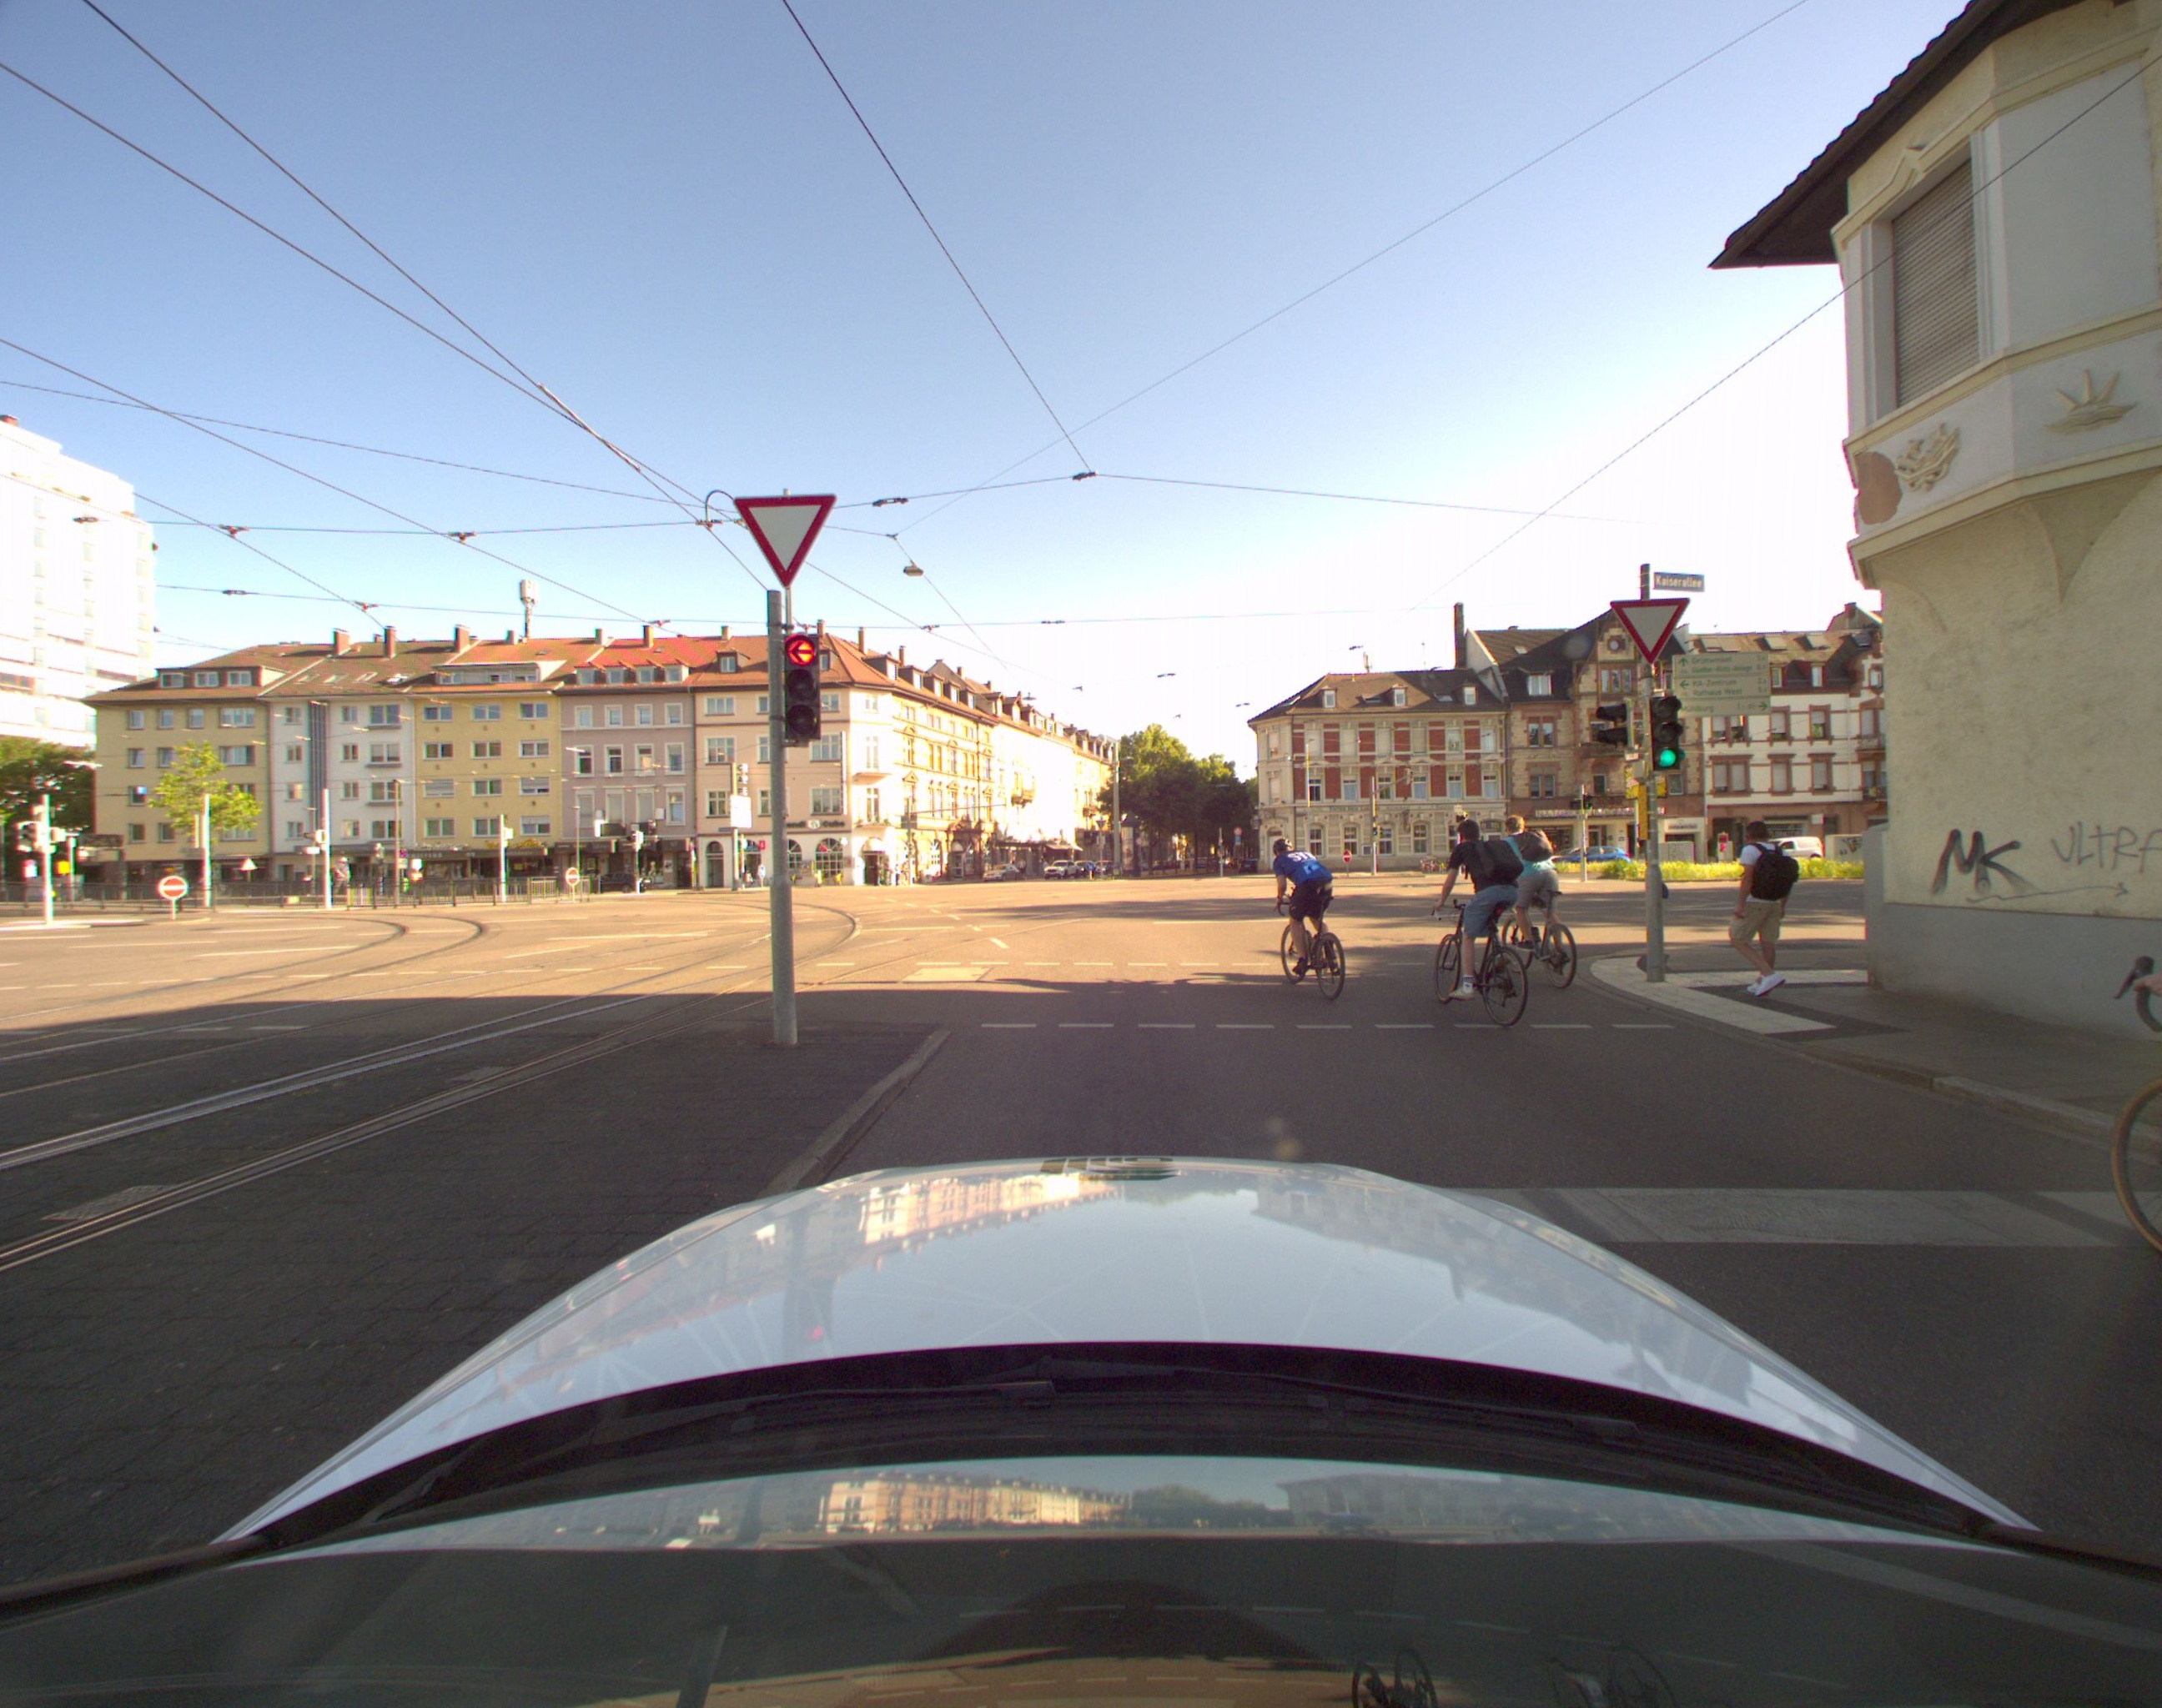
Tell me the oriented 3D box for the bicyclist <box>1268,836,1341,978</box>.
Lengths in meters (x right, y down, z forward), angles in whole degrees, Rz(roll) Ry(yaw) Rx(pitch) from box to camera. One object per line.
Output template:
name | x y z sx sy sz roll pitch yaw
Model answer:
bicyclist | 2.465 0.554 9.059 0.635 1.494 0.885 0 1 6

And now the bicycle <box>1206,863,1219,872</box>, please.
bicycle | 15.990 1.653 98.870 0.630 1.085 1.687 0 -1 -28

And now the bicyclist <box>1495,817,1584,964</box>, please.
bicyclist | 5.343 0.409 9.533 0.684 1.633 0.887 -1 -1 14

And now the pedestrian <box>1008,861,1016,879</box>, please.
pedestrian | -6.580 1.512 77.369 0.539 1.631 0.709 -1 -1 15

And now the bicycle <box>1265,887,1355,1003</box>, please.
bicycle | 2.448 0.933 8.873 0.623 1.085 1.705 0 -1 5

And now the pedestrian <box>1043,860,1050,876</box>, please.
pedestrian | -3.600 1.481 84.539 0.539 1.631 0.709 -1 -1 15

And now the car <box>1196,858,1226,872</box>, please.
car | 18.334 1.567 114.731 3.955 1.904 2.009 -1 -1 17

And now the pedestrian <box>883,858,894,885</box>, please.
pedestrian | -13.599 1.229 57.487 0.631 1.881 0.465 0 -1 -2

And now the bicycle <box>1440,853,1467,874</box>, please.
bicycle | 23.980 0.621 52.422 0.626 1.287 2.663 0 -1 3

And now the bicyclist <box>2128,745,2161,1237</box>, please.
bicyclist | 4.038 0.459 2.375 0.802 1.663 0.884 0 -1 2

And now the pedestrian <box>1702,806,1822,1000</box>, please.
pedestrian | 6.544 0.455 7.831 0.589 1.756 0.635 -5 -1 -37

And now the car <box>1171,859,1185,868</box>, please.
car | 16.243 1.541 136.006 1.546 1.513 3.673 -1 -1 19

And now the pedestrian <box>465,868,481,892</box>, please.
pedestrian | -42.888 1.814 57.441 0.631 1.634 0.700 0 -1 -2

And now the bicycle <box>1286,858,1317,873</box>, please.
bicycle | 15.392 0.774 56.875 2.040 0.998 0.631 -1 -1 4

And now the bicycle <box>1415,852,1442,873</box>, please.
bicycle | 22.389 0.534 52.503 0.689 1.287 2.663 0 -1 3

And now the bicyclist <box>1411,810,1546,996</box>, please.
bicyclist | 3.626 0.425 7.510 0.803 1.606 0.883 0 -1 0

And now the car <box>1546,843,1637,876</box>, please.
car | 28.241 0.314 45.146 3.769 1.778 2.000 0 -1 1

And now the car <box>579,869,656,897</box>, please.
car | -30.593 1.917 53.823 3.962 1.670 2.006 -2 0 10

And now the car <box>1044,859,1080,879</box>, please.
car | -1.545 1.233 67.657 1.979 1.618 4.015 -1 -1 14

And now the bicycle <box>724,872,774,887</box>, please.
bicycle | -23.429 1.789 57.471 3.118 0.980 1.002 0 -1 1

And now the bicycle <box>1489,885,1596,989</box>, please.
bicycle | 5.325 0.909 9.500 0.644 1.031 1.778 -1 -1 15

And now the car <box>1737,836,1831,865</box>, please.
car | 45.307 -0.227 52.576 4.349 1.778 2.000 0 -1 1

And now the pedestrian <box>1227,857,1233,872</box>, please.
pedestrian | 18.246 1.275 99.877 0.635 1.796 0.492 -1 -1 14

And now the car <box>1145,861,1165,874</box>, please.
car | 11.162 2.030 122.607 1.977 1.904 4.019 -1 -1 19

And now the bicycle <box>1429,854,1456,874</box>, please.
bicycle | 23.257 0.627 52.429 0.689 1.287 2.663 0 -1 3

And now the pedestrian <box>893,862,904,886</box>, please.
pedestrian | -12.641 1.361 56.372 0.631 1.634 0.700 0 -1 -2

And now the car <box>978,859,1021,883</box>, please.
car | -6.712 1.368 67.426 1.977 1.904 4.019 -1 -1 19

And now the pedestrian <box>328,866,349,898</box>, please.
pedestrian | -38.027 1.419 41.732 0.523 1.628 0.577 0 -1 0

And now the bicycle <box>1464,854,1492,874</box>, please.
bicycle | 25.498 0.627 52.390 0.626 1.287 2.663 0 -1 3

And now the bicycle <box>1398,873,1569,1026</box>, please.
bicycle | 3.675 0.814 7.614 0.752 1.236 1.702 0 -1 0

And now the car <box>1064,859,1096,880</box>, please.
car | -0.056 1.371 73.809 1.979 1.904 4.015 -1 -1 14

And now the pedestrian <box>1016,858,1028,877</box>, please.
pedestrian | -4.764 1.106 65.496 0.814 1.512 0.601 -1 -1 16

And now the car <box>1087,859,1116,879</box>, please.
car | 2.061 1.405 79.926 1.979 1.904 4.015 -1 -1 14

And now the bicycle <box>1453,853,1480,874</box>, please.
bicycle | 24.770 0.616 52.394 0.626 1.287 2.663 0 -1 3

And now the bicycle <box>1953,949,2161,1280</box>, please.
bicycle | 3.985 0.907 2.503 0.752 1.031 1.782 0 -1 3

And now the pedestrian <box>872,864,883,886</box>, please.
pedestrian | -14.190 1.458 56.701 0.631 1.477 0.465 0 -1 -2

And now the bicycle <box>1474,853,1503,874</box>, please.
bicycle | 26.193 0.621 52.361 0.626 1.287 2.663 0 -1 3

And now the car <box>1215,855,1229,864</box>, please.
car | 23.241 0.921 134.238 1.546 1.513 3.673 -1 -1 19

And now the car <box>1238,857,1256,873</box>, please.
car | 16.814 1.121 82.369 1.680 1.565 3.855 -1 -1 14

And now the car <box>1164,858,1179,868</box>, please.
car | 14.703 1.472 131.920 1.546 1.513 3.673 -1 -1 19

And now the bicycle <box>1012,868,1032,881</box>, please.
bicycle | -4.736 1.636 65.564 0.756 1.008 2.406 -1 -1 16

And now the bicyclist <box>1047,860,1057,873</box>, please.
bicyclist | -2.640 1.107 73.488 0.626 1.185 0.689 -1 -1 23

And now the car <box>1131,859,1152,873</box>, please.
car | 8.393 1.624 112.699 1.977 1.904 4.019 -1 -1 19

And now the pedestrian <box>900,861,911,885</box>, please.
pedestrian | -12.392 1.347 57.646 0.631 1.634 0.700 0 -1 -2
